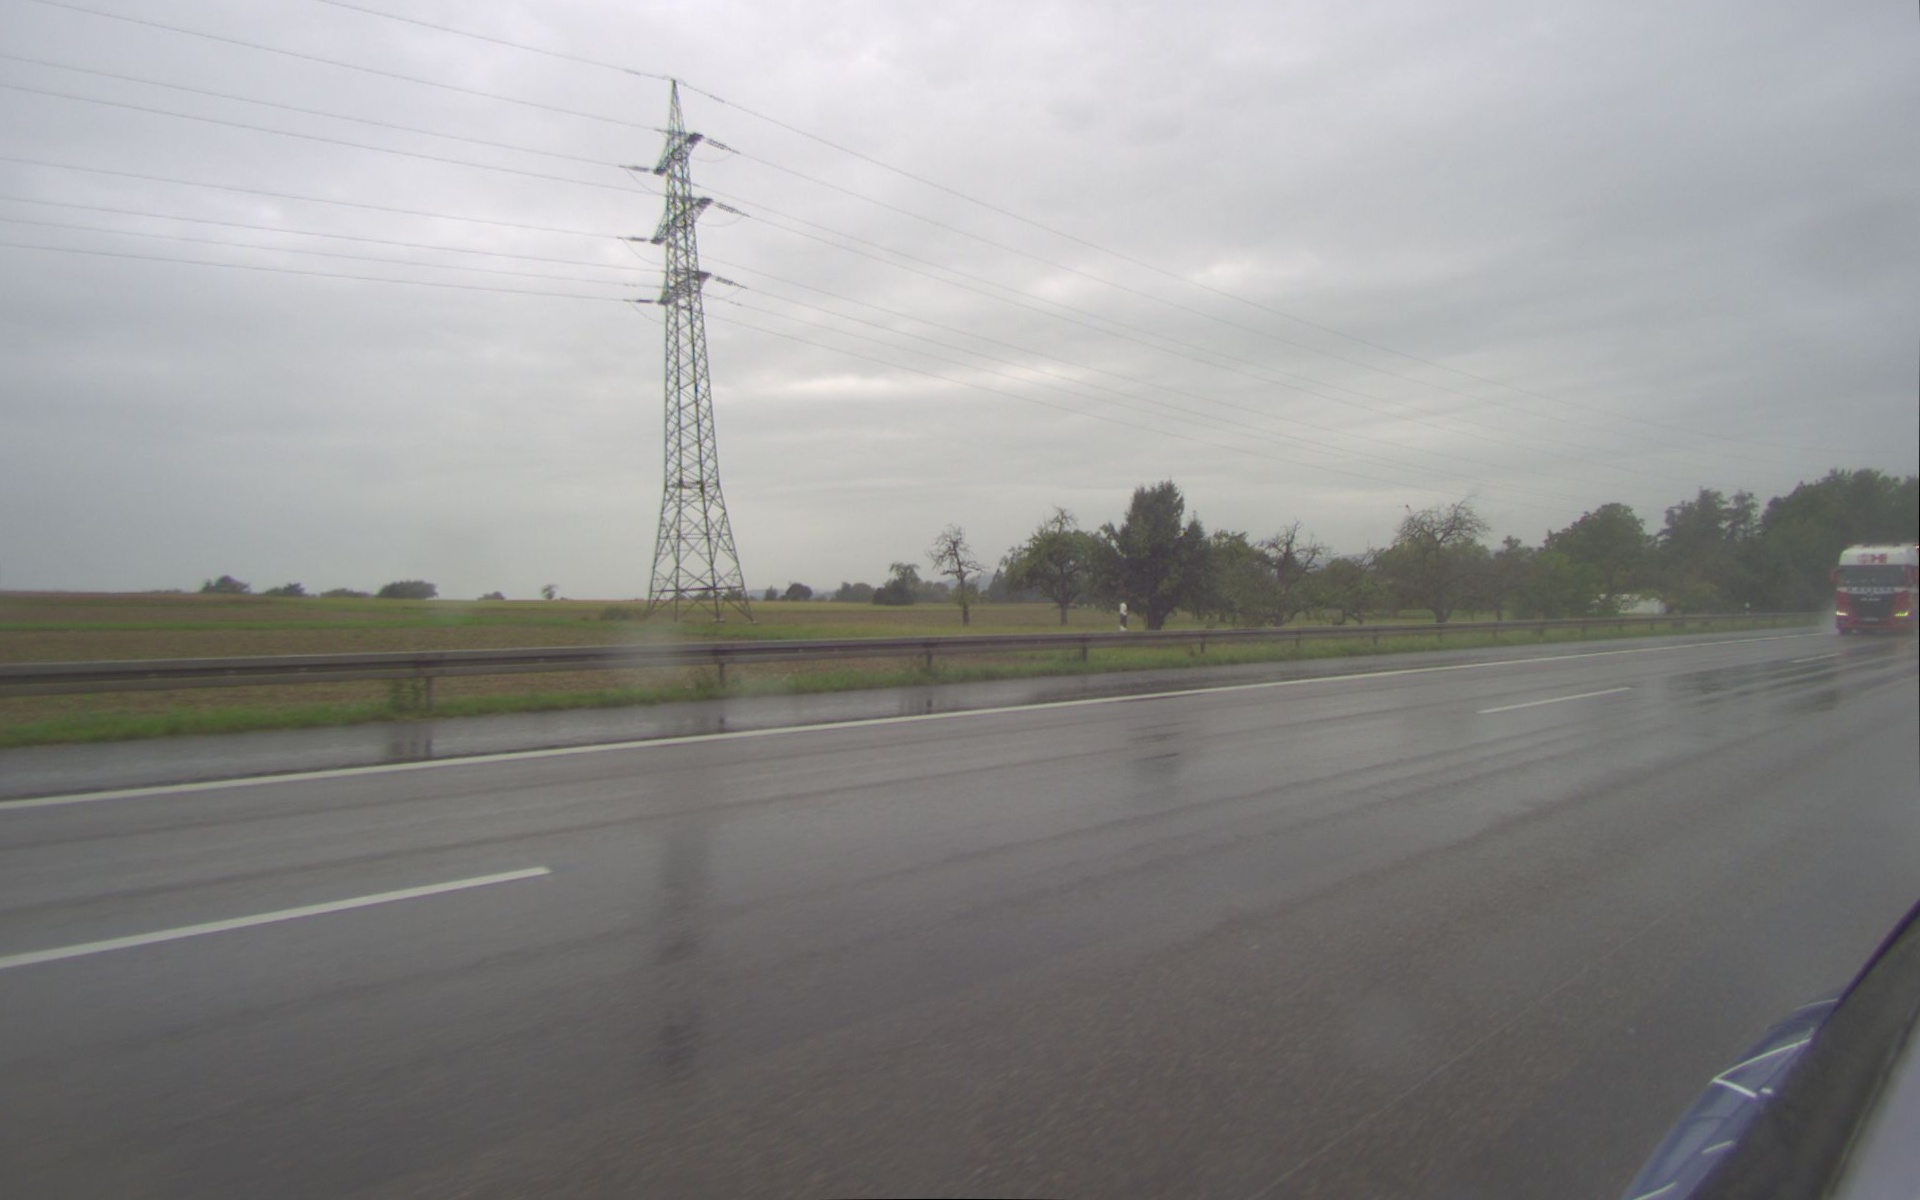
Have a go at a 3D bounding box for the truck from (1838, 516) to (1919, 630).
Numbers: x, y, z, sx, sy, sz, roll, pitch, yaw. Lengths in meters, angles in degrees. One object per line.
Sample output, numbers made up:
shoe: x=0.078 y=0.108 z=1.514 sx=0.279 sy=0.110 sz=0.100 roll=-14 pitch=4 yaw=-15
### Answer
truck: x=43.567 y=-1.169 z=46.721 sx=11.205 sy=4.727 sz=3.133 roll=0 pitch=0 yaw=-41
